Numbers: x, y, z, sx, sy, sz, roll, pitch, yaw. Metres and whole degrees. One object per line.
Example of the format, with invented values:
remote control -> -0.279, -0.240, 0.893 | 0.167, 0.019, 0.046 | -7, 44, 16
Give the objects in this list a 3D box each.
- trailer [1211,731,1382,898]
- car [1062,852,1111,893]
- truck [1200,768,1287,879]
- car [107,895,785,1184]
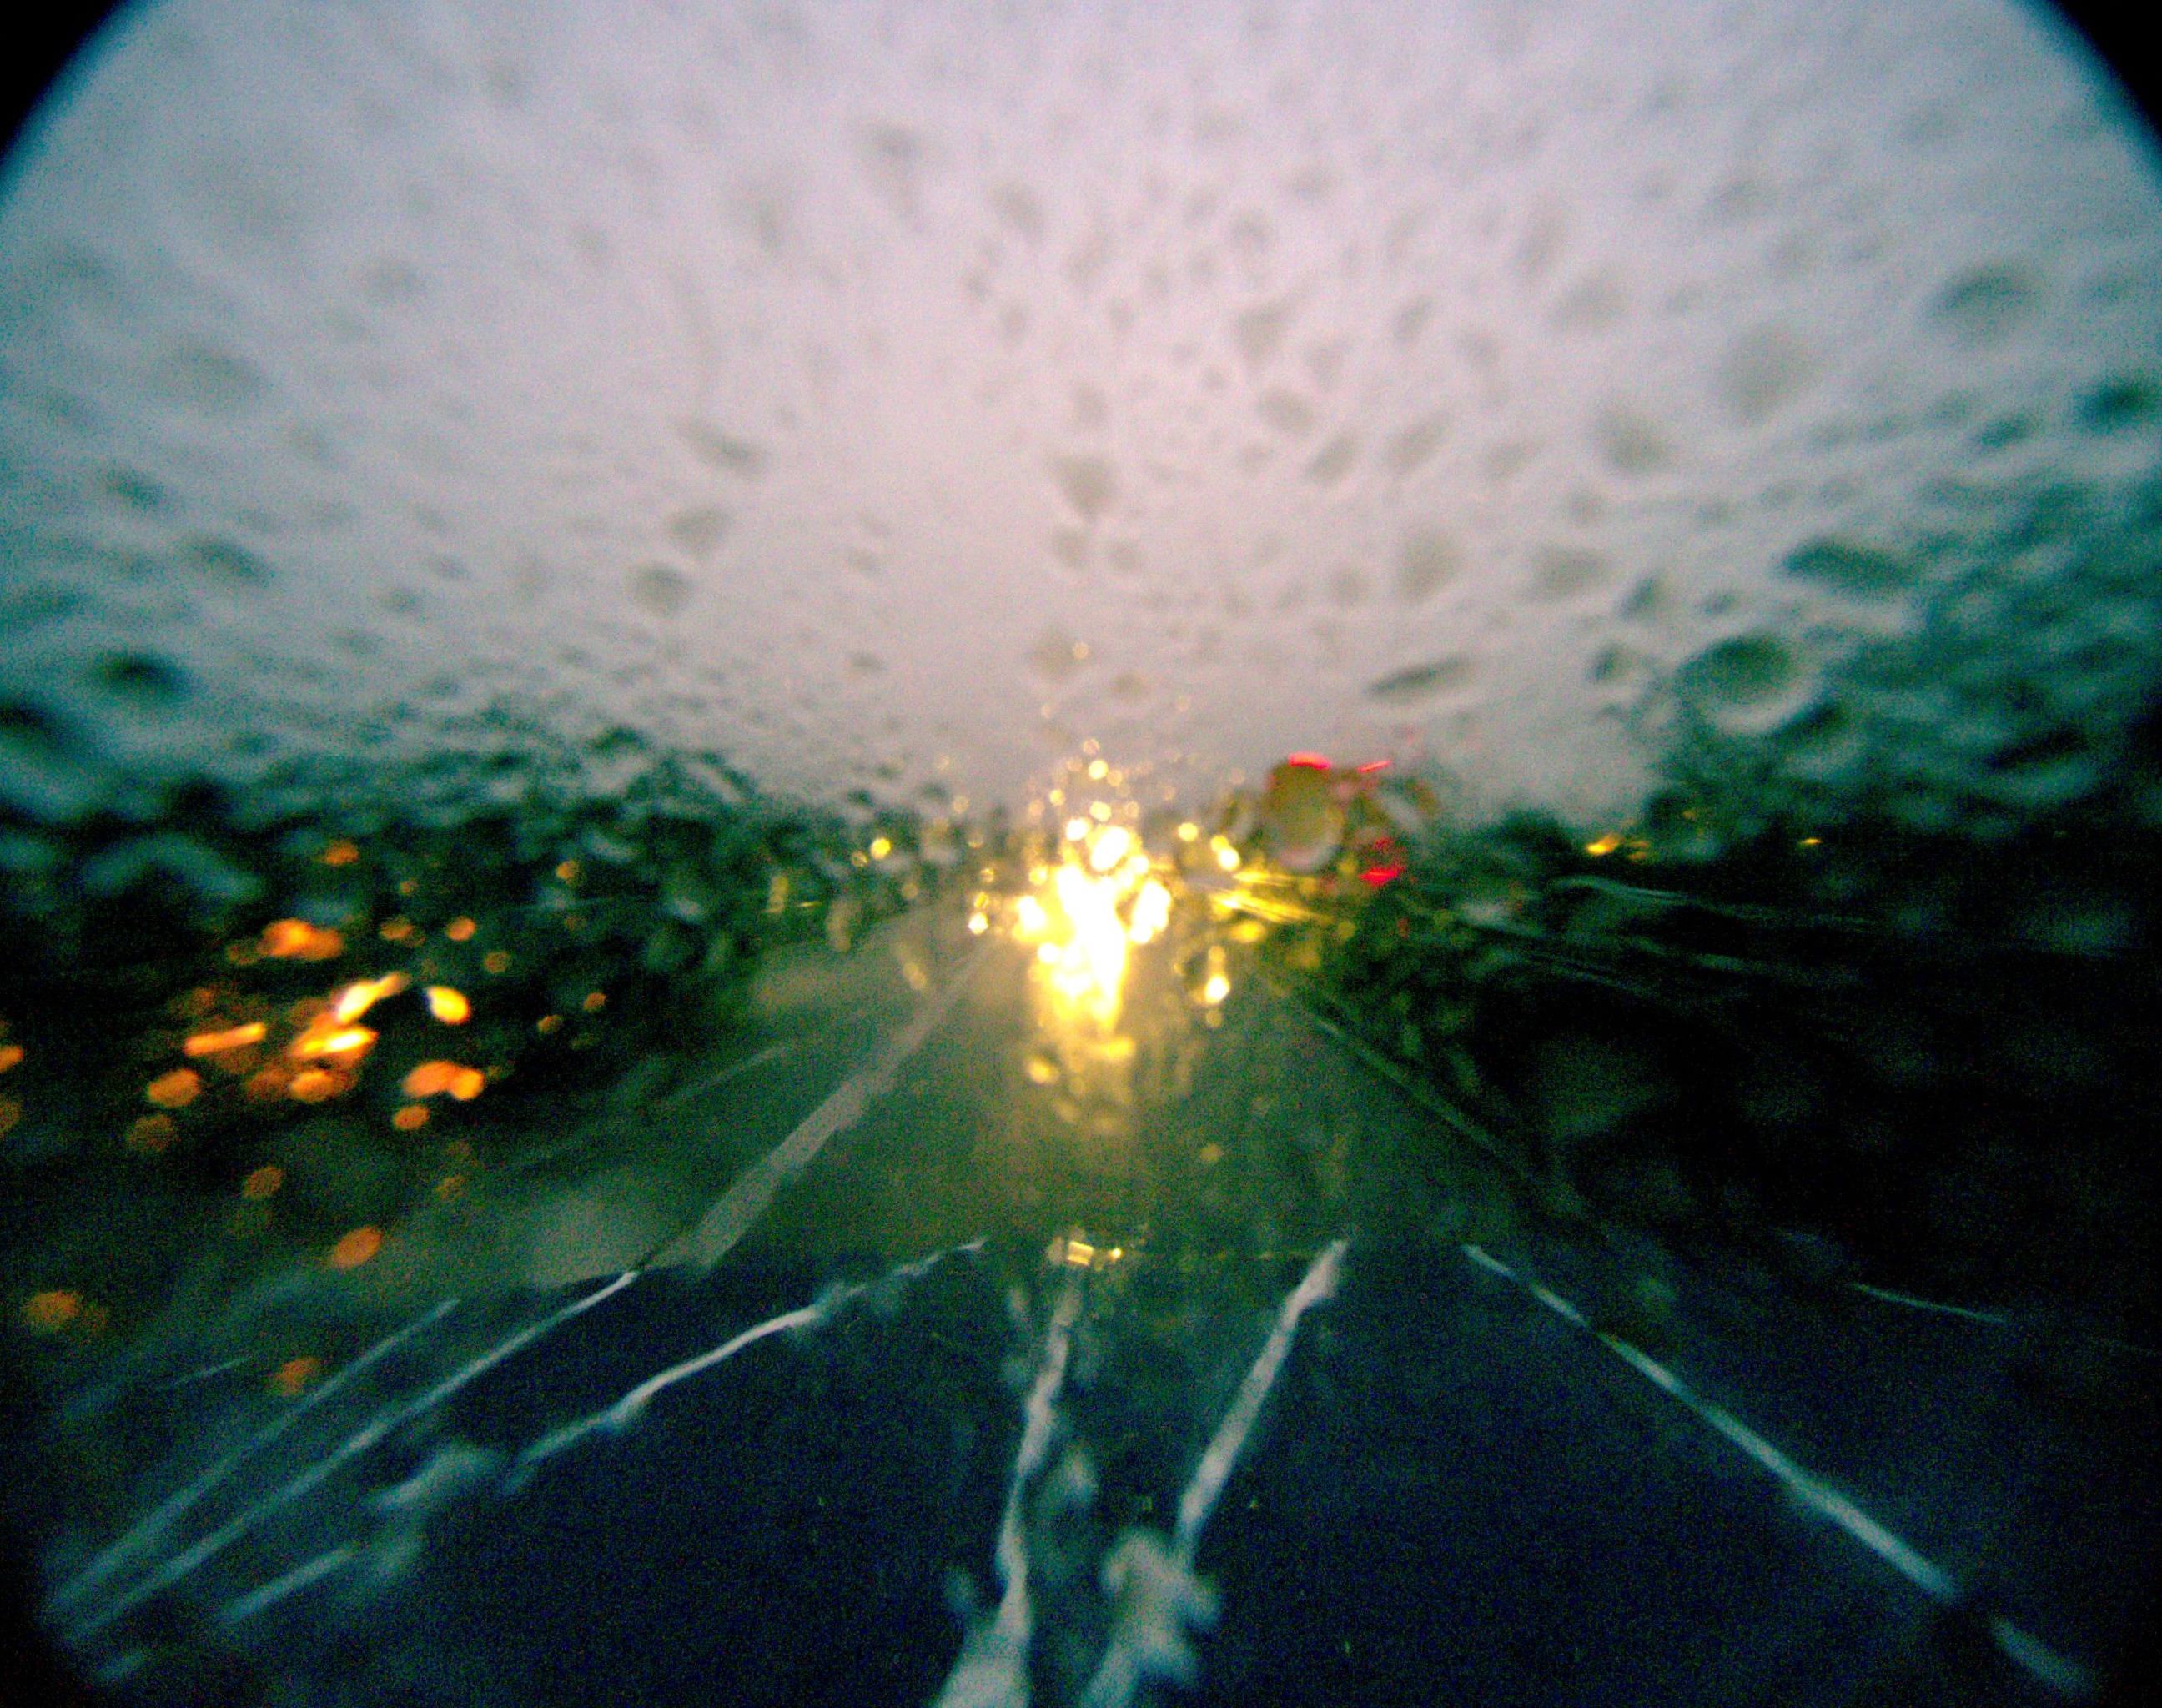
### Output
trailer -> 7.128, -1.190, 27.786 | 2.634, 4.558, 13.324 | -2, 1, 1
car -> 0.263, 0.719, 31.988 | 1.886, 1.514, 4.000 | -1, 1, 1
truck -> 7.244, -1.302, 34.731 | 2.601, 4.553, 6.357 | -1, 1, 0
car -> -4.814, 1.265, 6.789 | 1.739, 1.406, 4.382 | -4, 0, 14
